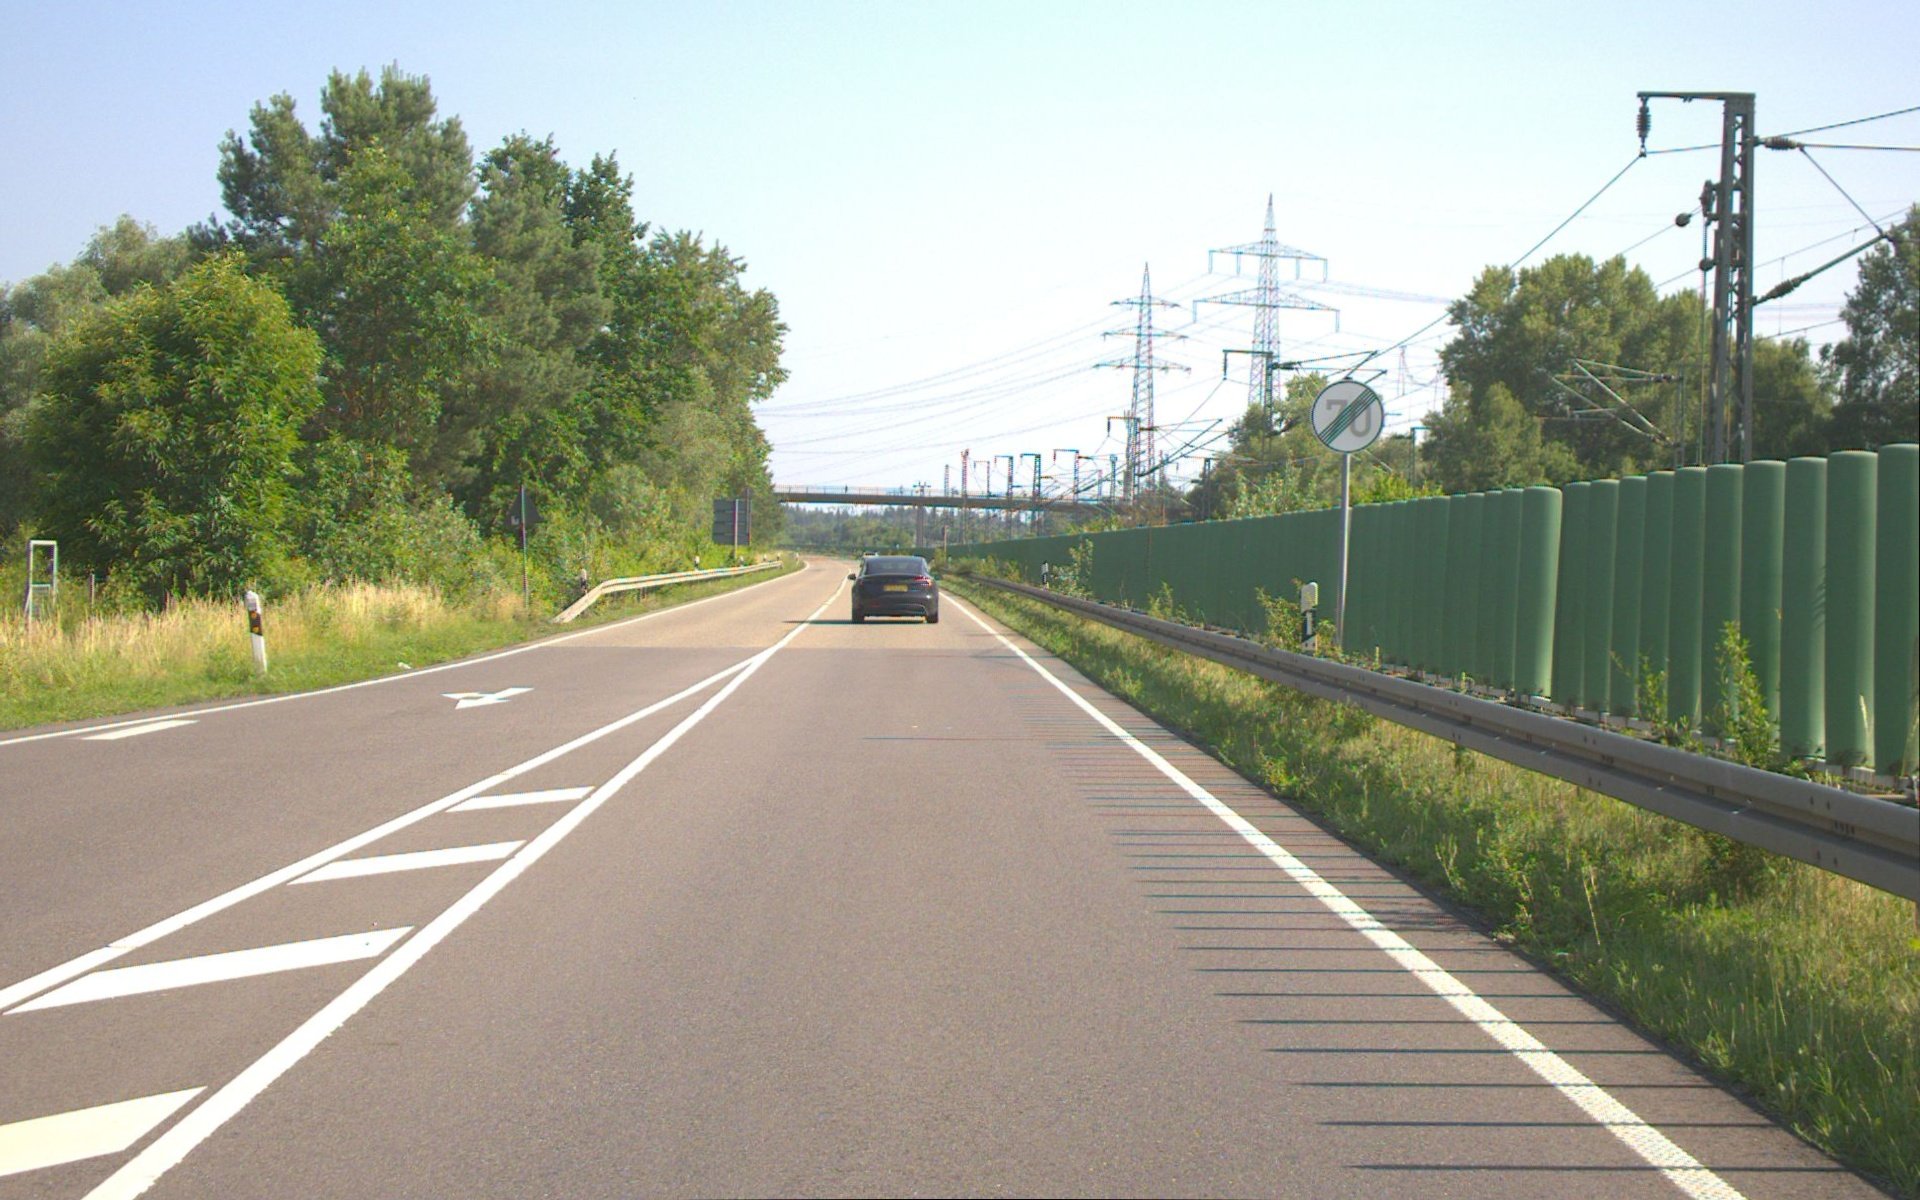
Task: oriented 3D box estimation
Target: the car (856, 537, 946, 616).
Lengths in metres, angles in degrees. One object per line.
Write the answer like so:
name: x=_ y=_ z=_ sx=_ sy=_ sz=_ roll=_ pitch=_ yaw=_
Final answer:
car: x=-1.266 y=-0.518 z=73.718 sx=1.858 sy=1.636 sz=4.000 roll=-1 pitch=1 yaw=-1
